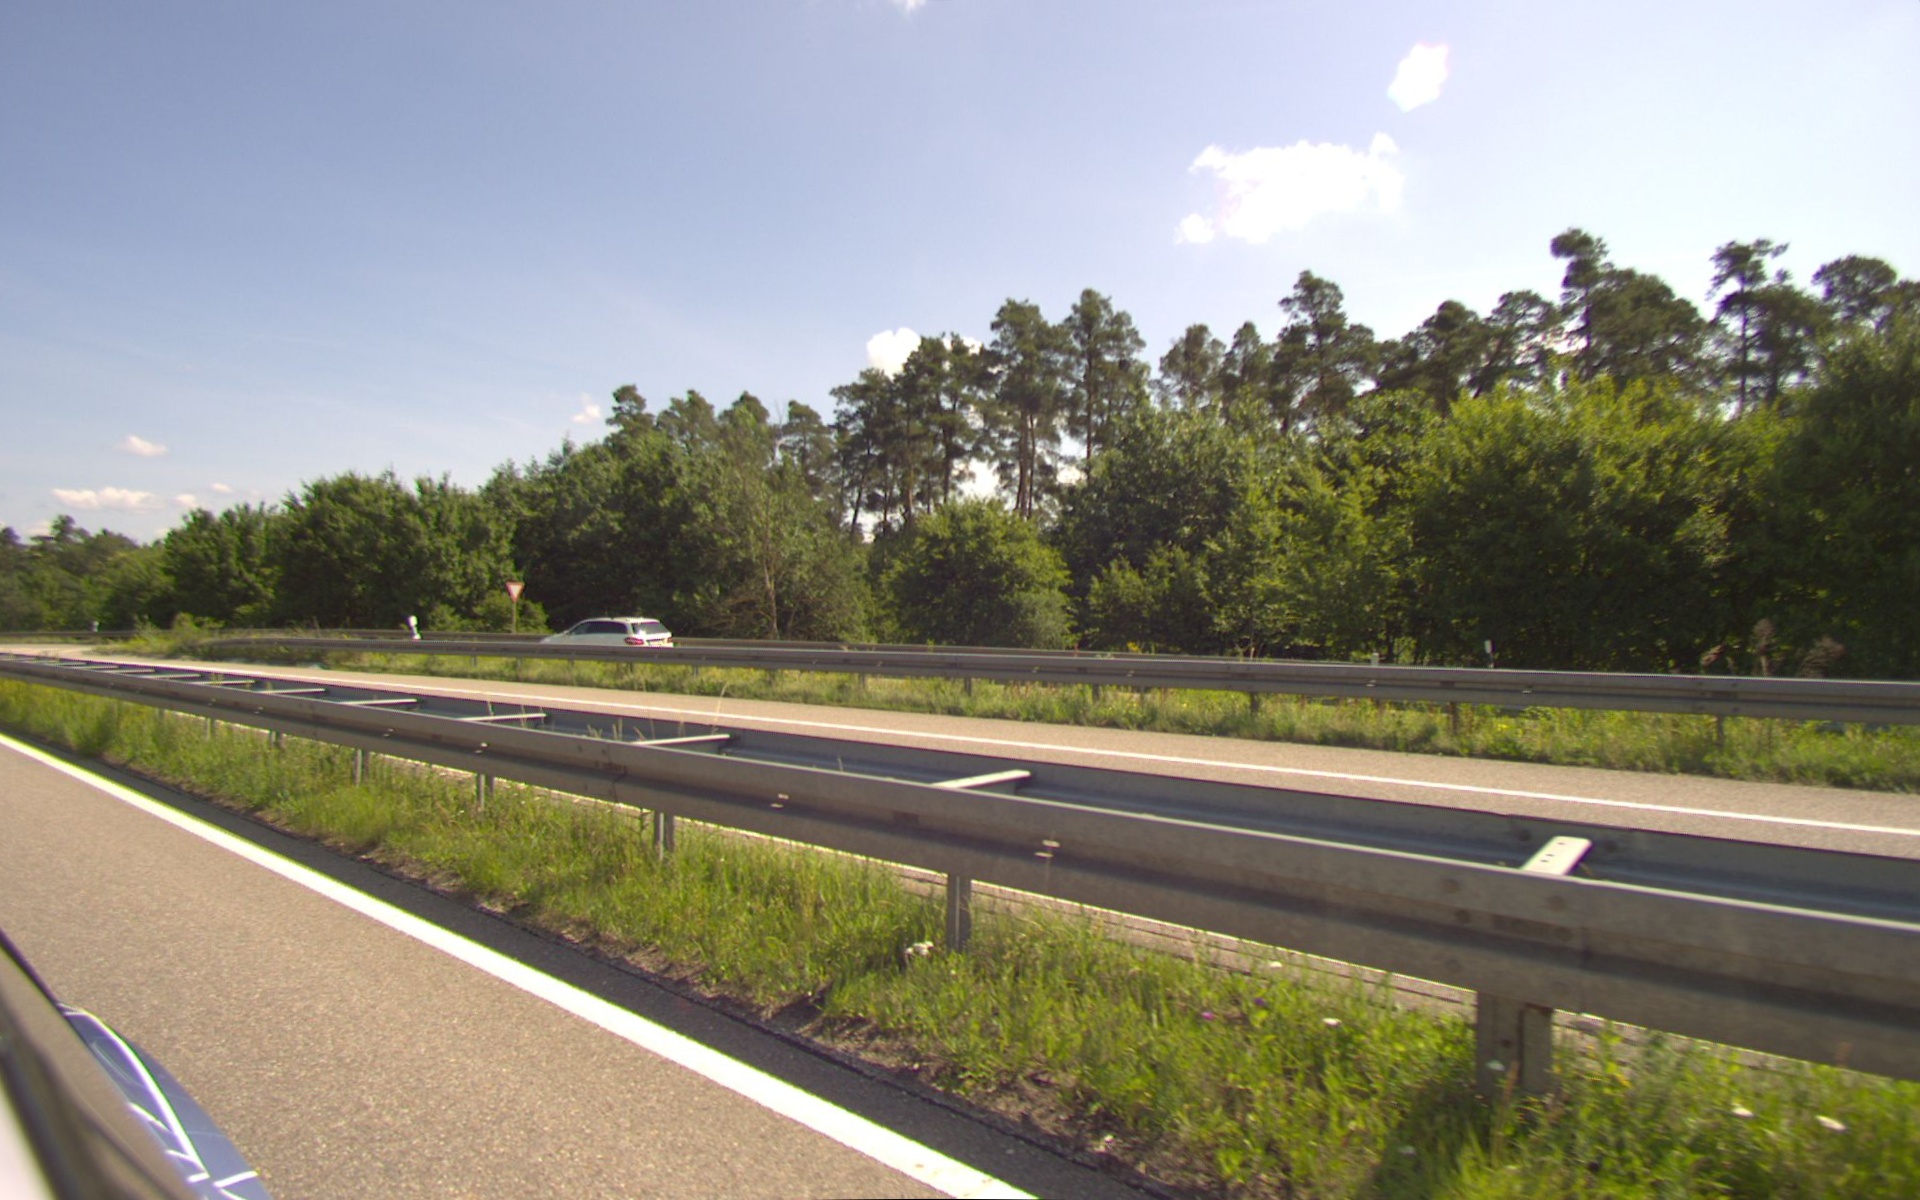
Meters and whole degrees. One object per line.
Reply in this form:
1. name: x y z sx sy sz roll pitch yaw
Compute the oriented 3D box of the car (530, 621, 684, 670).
1. car: -11.012 1.378 31.511 4.816 1.425 1.933 -1 -1 31
